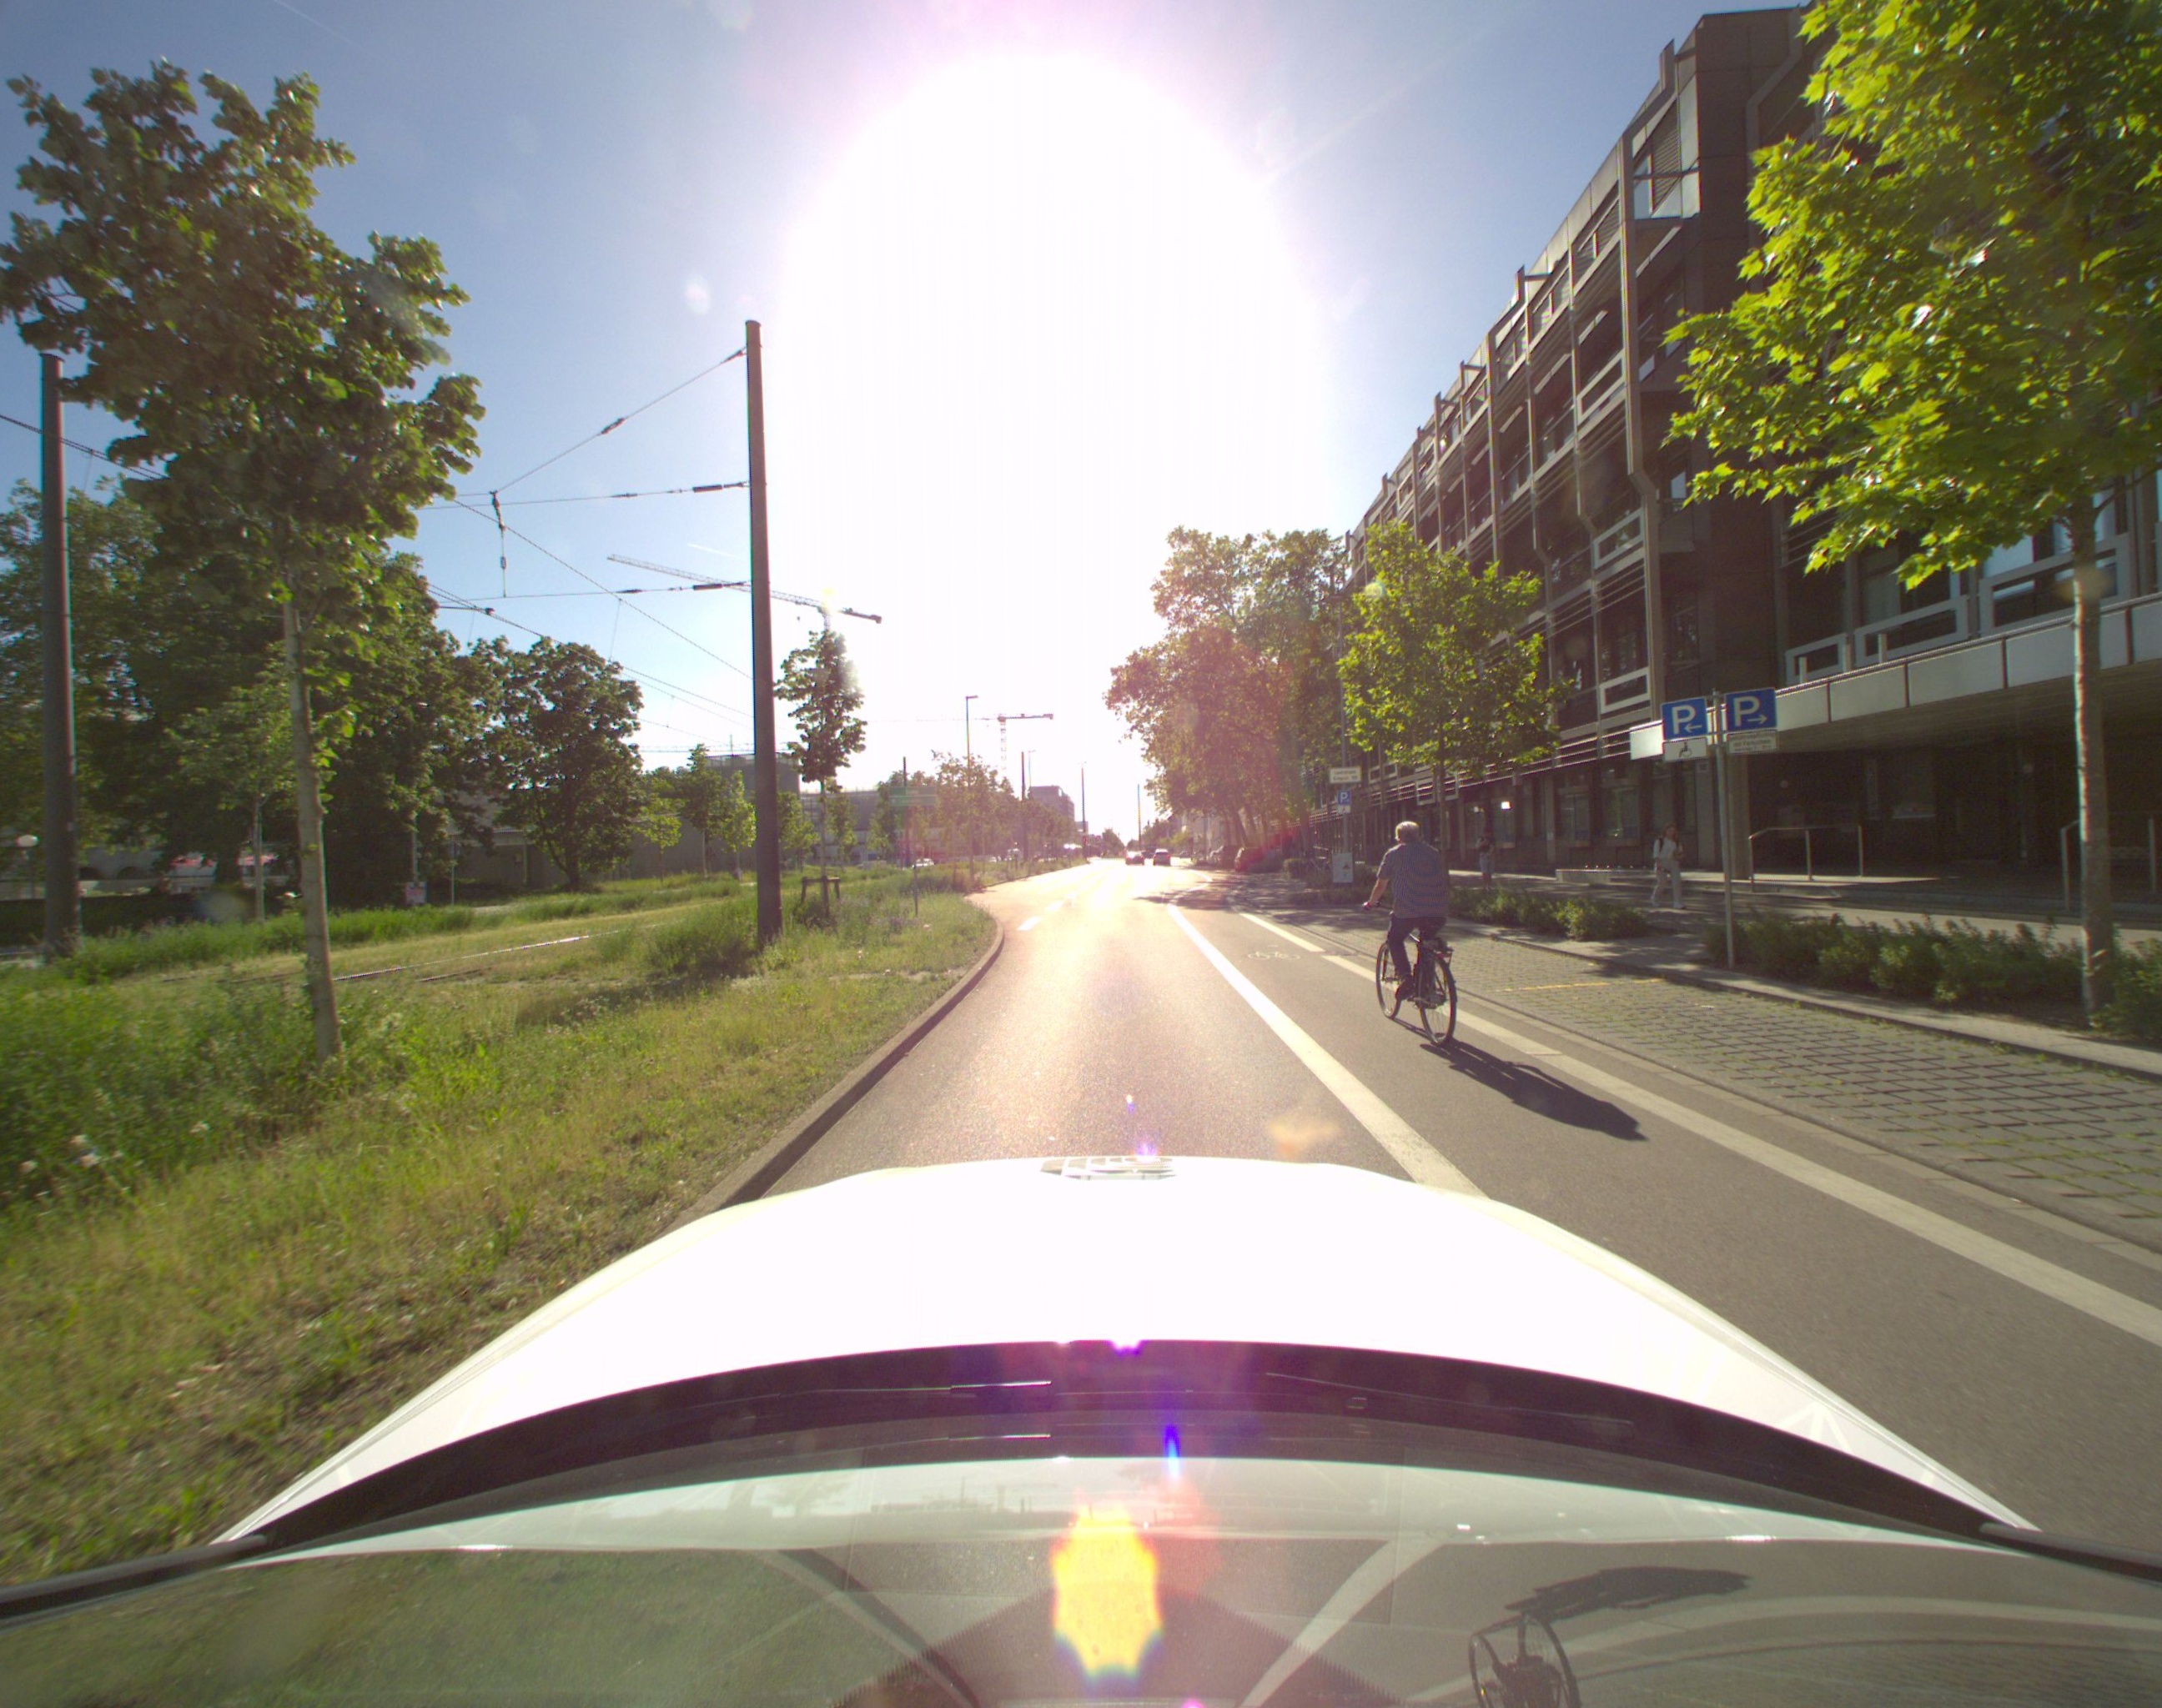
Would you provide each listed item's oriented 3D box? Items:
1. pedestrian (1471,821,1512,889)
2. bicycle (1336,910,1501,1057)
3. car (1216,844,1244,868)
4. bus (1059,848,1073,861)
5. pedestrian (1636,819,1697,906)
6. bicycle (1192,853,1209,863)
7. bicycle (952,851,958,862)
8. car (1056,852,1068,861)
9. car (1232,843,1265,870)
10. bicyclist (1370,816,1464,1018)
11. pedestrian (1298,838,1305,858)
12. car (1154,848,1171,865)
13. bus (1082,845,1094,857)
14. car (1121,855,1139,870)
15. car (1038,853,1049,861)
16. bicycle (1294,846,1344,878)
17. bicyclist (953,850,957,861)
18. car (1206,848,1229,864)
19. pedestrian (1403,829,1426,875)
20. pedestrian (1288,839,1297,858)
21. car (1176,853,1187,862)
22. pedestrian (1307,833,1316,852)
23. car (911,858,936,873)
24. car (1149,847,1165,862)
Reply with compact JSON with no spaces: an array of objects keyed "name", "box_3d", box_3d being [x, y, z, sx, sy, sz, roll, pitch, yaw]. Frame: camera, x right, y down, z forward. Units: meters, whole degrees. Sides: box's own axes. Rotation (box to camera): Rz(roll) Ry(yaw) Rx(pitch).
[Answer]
[{"name":"pedestrian","box_3d":[10.636,0.028,21.145,0.644,1.728,0.804,-2,0,3]},{"name":"bicycle","box_3d":[2.784,1.006,6.979,0.496,0.906,2.196,0,0,0]},{"name":"car","box_3d":[11.939,0.117,65.647,1.696,1.790,4.197,-4,0,5]},{"name":"bus","box_3d":[-3.311,0.147,182.953,2.617,2.783,8.848,0,-1,2]},{"name":"pedestrian","box_3d":[10.461,0.148,14.573,0.508,1.474,0.737,-4,0,3]},{"name":"bicycle","box_3d":[12.681,0.467,86.600,1.688,0.957,0.478,-3,0,0]},{"name":"bicycle","box_3d":[-18.052,0.339,116.625,0.358,1.455,1.916,-2,0,5]},{"name":"car","box_3d":[-3.512,0.472,151.513,1.890,1.816,4.001,0,-1,1]},{"name":"car","box_3d":[11.119,0.132,54.328,1.695,1.643,4.644,-2,0,6]},{"name":"bicyclist","box_3d":[2.788,0.504,6.795,0.511,1.601,0.536,-2,0,-1]},{"name":"pedestrian","box_3d":[18.150,-0.498,67.059,0.314,1.584,0.501,-2,0,-4]},{"name":"car","box_3d":[8.749,0.247,87.223,1.713,1.618,4.193,-2,0,6]},{"name":"bus","box_3d":[1.727,-0.716,199.881,2.617,2.959,9.903,0,-1,2]},{"name":"car","box_3d":[5.464,0.912,90.931,1.904,1.486,4.013,-2,0,4]},{"name":"car","box_3d":[-5.655,0.505,123.111,1.370,1.178,3.223,0,-1,4]},{"name":"bicycle","box_3d":[10.474,0.340,35.829,1.930,1.236,0.579,-5,0,1]},{"name":"bicyclist","box_3d":[-18.057,0.206,116.591,0.392,1.454,0.540,0,0,3]},{"name":"car","box_3d":[13.064,0.161,78.166,1.696,1.492,4.606,-2,0,5]},{"name":"pedestrian","box_3d":[12.910,-0.079,31.565,0.508,1.700,0.775,-4,0,3]},{"name":"pedestrian","box_3d":[17.435,-0.441,67.039,0.504,1.584,0.634,-2,0,-4]},{"name":"car","box_3d":[18.970,0.678,153.835,1.655,1.649,3.703,0,-1,3]},{"name":"pedestrian","box_3d":[18.931,-0.934,66.996,0.551,1.603,0.574,-2,0,4]},{"name":"car","box_3d":[-16.250,1.168,84.339,1.626,1.398,3.836,-2,0,3]},{"name":"car","box_3d":[9.410,0.073,100.818,1.714,1.782,4.189,-2,0,3]}]
